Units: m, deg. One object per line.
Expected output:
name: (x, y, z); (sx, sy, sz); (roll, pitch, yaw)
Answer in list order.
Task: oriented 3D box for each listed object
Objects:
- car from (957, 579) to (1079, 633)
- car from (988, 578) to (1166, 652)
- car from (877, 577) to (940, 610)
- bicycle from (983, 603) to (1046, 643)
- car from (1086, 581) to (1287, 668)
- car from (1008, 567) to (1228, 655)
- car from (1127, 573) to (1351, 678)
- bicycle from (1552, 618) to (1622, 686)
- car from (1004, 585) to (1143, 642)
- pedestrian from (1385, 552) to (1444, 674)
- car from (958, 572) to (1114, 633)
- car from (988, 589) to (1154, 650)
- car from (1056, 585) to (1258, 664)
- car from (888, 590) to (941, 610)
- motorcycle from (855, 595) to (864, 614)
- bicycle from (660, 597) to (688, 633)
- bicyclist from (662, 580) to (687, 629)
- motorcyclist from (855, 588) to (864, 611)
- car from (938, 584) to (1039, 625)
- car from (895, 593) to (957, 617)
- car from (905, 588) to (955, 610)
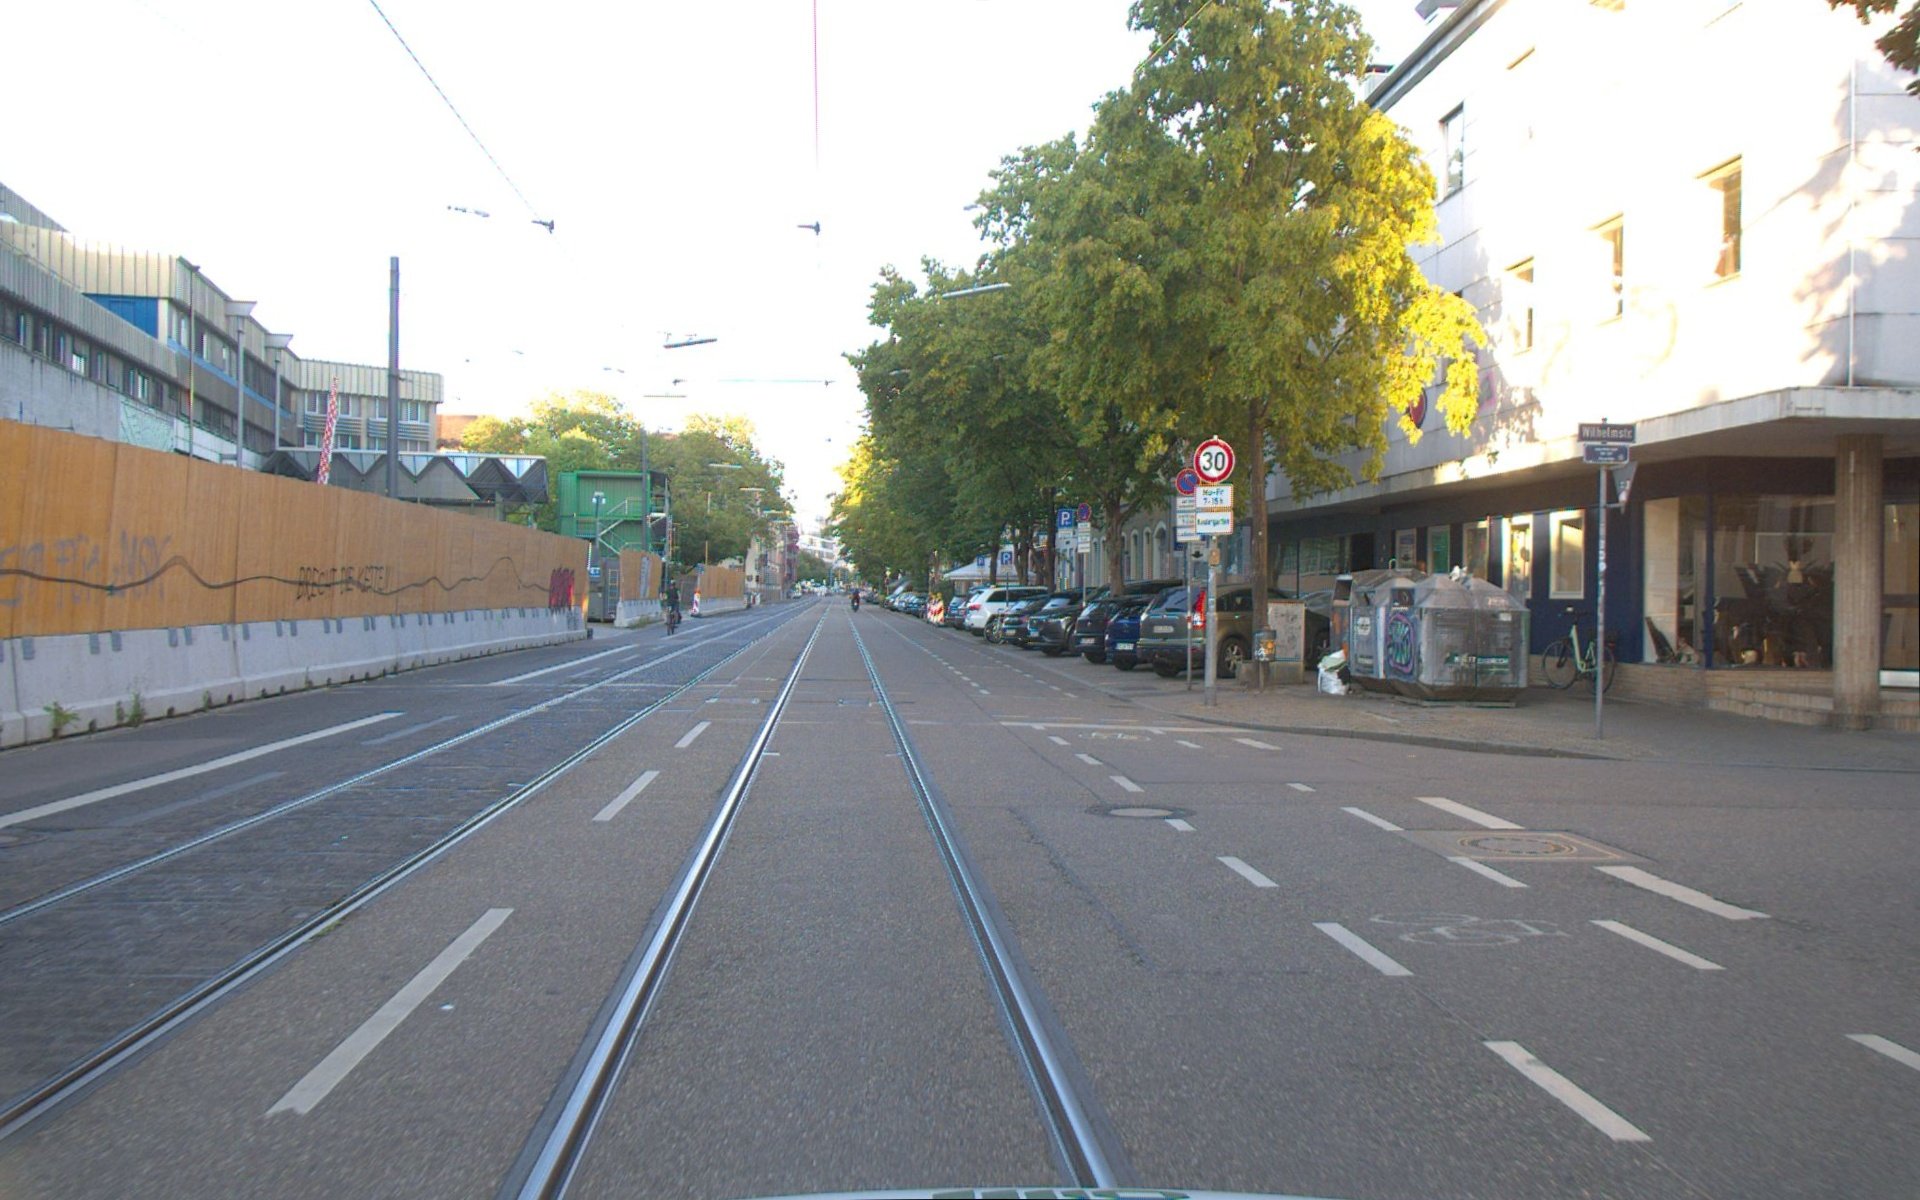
car: (2.148, 0.207, 60.908); (4.109, 1.838, 1.985); (-2, 0, -33)
car: (3.023, 0.379, 42.979); (4.155, 1.677, 1.962); (-3, 1, -23)
car: (-4.380, -0.549, 141.091); (5.022, 2.689, 2.009); (-1, 0, -21)
bicycle: (1.643, 0.696, 50.127); (1.807, 1.122, 0.495); (-3, 1, -19)
car: (4.637, 0.477, 33.629); (3.850, 1.528, 1.791); (-3, 1, -35)
car: (3.884, 0.245, 40.717); (4.897, 1.858, 2.193); (-3, 1, -23)
car: (5.216, 0.436, 30.669); (4.128, 1.693, 1.816); (-3, 1, -39)
bicycle: (8.954, 0.731, 23.647); (0.334, 0.898, 1.324); (-2, 1, -7)
car: (3.329, 0.390, 48.383); (3.706, 1.451, 1.711); (-3, 1, -29)
pedestrian: (7.769, 0.218, 28.296); (0.678, 2.020, 0.785); (-2, 0, -5)
car: (2.377, 0.071, 52.178); (4.565, 1.717, 2.003); (-2, 0, -10)
car: (3.081, 0.533, 45.863); (4.162, 1.451, 1.959); (-3, 1, -27)
car: (4.372, 0.513, 36.553); (4.116, 1.490, 1.949); (-3, 1, -33)
car: (-3.751, 0.016, 136.485); (3.906, 1.512, 1.903); (-1, -1, -29)
motorcycle: (-7.712, 0.363, 126.756); (0.632, 1.393, 1.810); (1, -1, -5)
bicycle: (-9.933, 0.508, 57.474); (0.753, 1.249, 1.934); (0, 0, -4)
bicyclist: (-9.932, 0.153, 57.521); (0.753, 1.694, 1.017); (0, 0, -5)
motorcyclist: (-7.720, -0.009, 126.868); (0.632, 1.727, 1.025); (1, -1, -5)
car: (1.187, 0.186, 68.799); (3.919, 1.580, 1.689); (-2, 0, -30)
car: (-2.457, 0.355, 119.348); (4.180, 1.576, 2.011); (-1, 0, -15)
car: (-2.414, -0.086, 132.824); (3.872, 1.648, 1.919); (-1, -1, -4)
